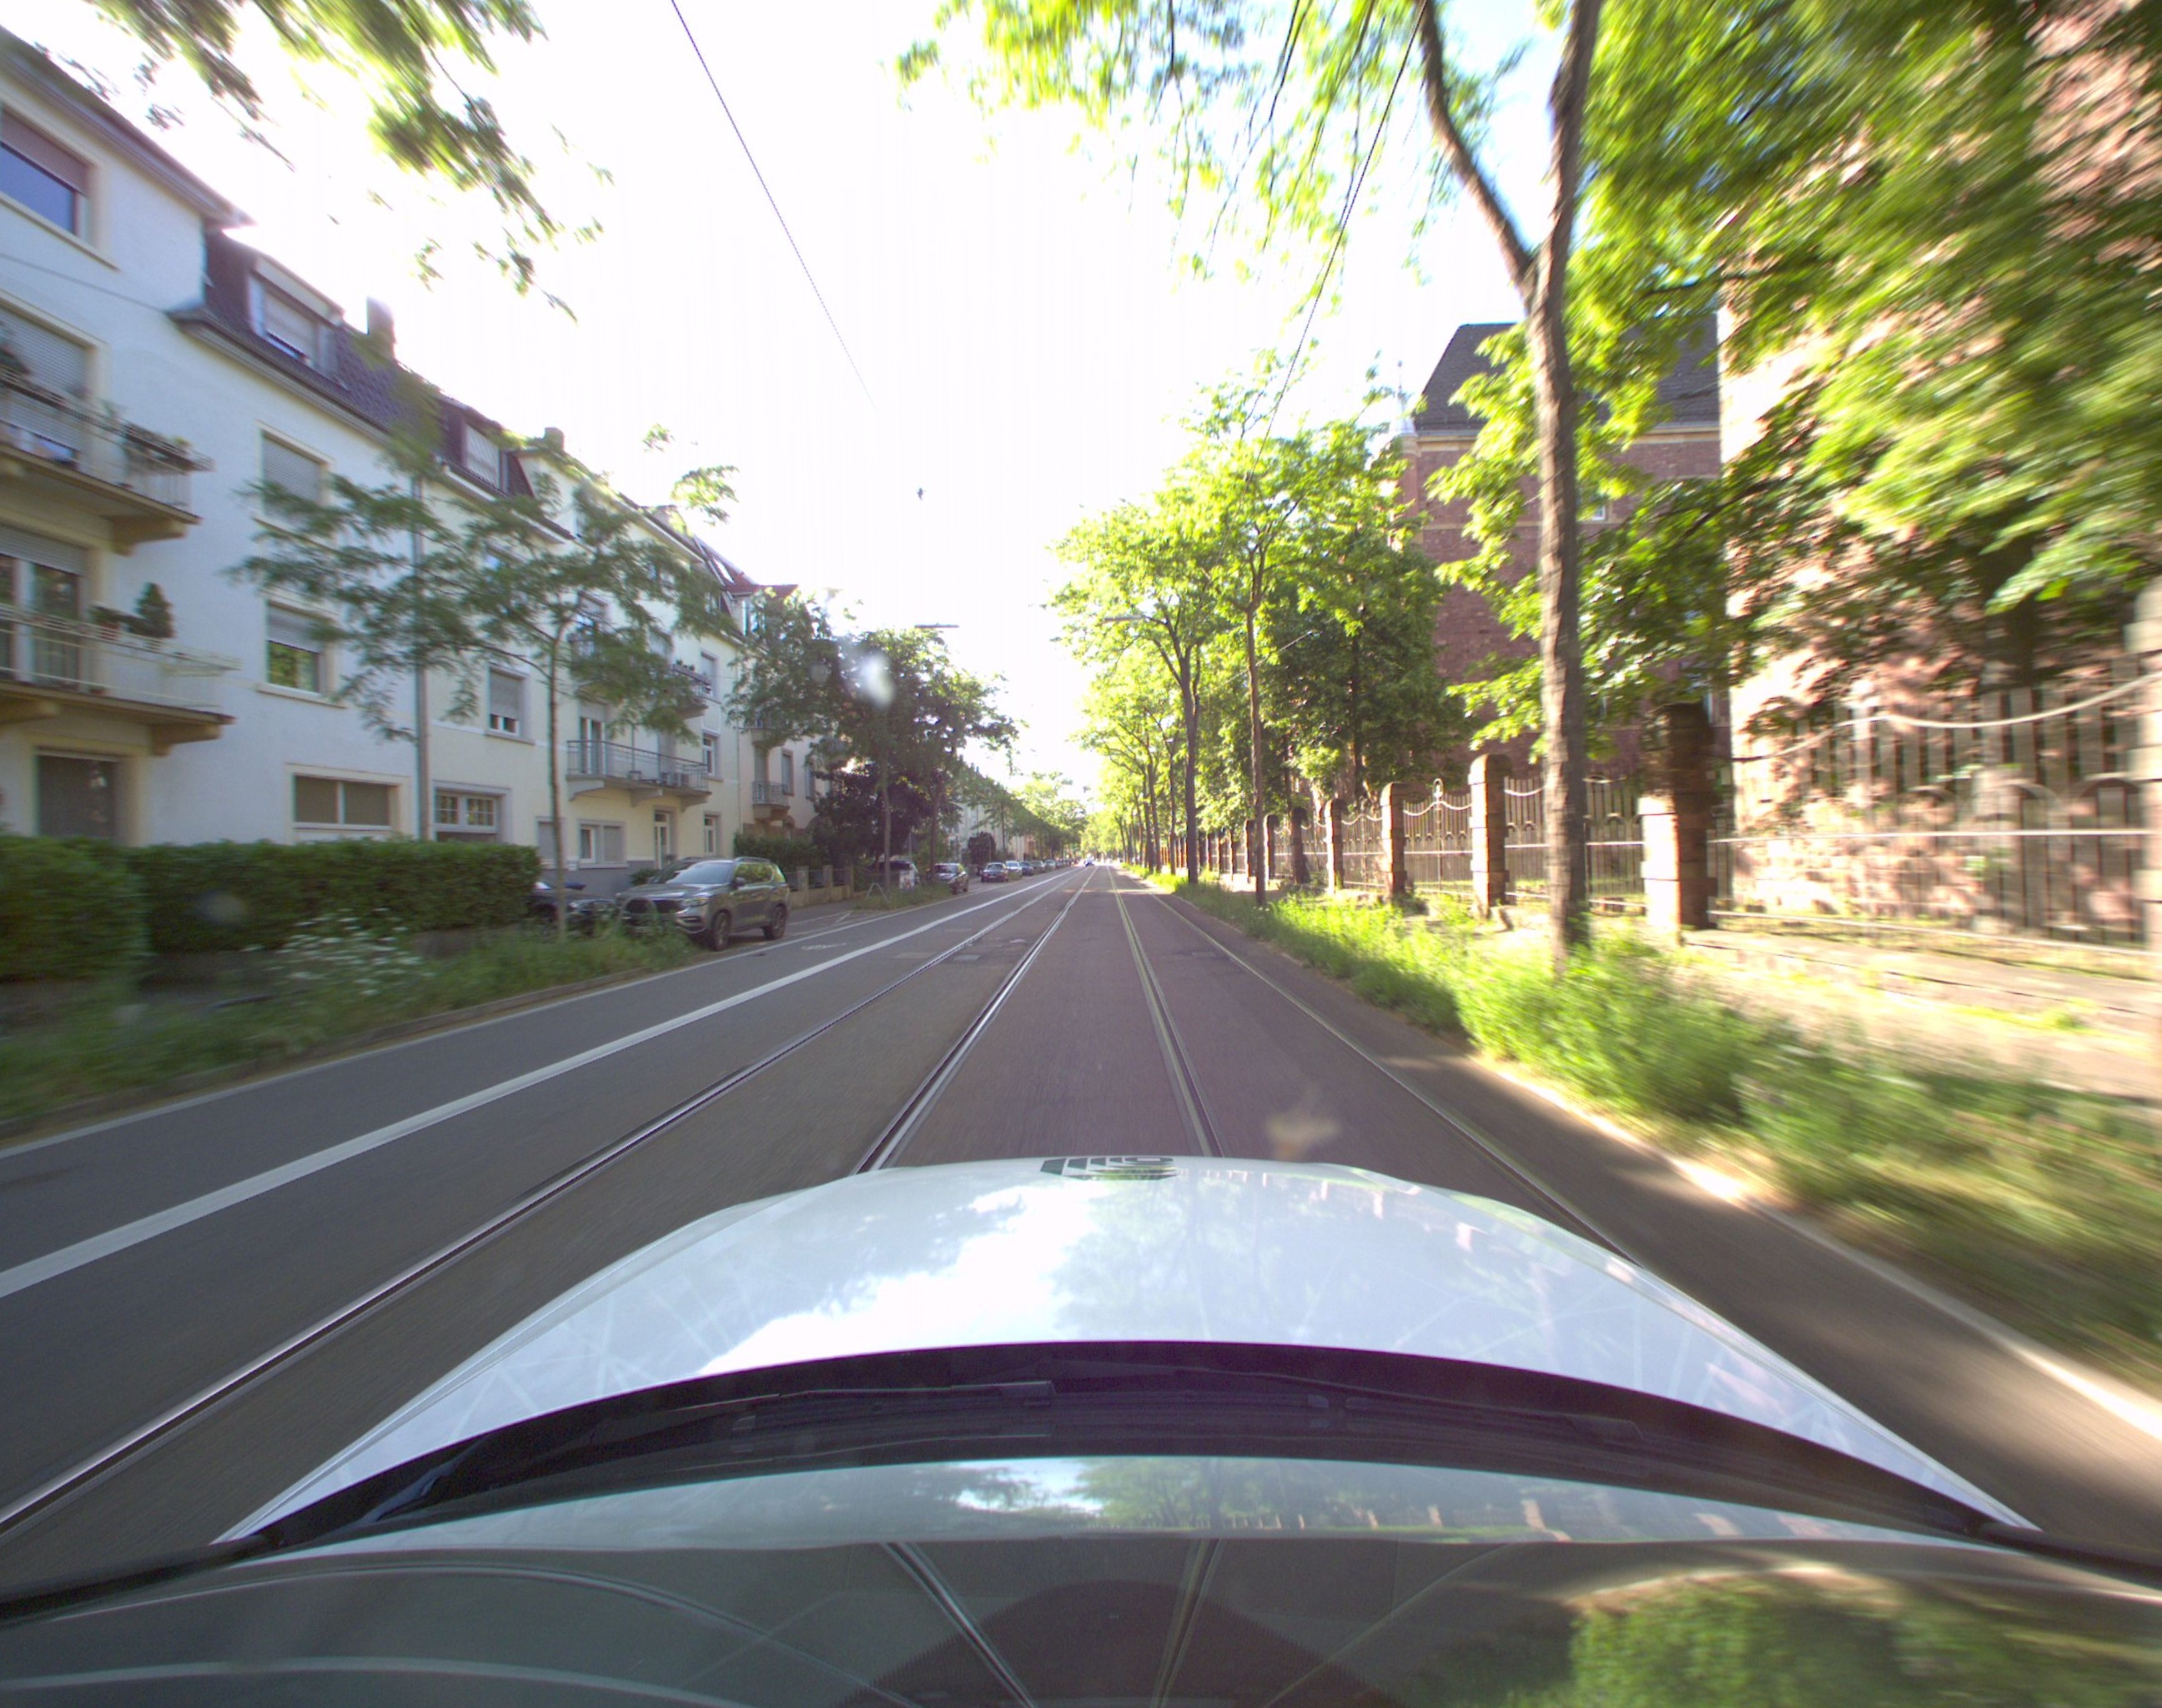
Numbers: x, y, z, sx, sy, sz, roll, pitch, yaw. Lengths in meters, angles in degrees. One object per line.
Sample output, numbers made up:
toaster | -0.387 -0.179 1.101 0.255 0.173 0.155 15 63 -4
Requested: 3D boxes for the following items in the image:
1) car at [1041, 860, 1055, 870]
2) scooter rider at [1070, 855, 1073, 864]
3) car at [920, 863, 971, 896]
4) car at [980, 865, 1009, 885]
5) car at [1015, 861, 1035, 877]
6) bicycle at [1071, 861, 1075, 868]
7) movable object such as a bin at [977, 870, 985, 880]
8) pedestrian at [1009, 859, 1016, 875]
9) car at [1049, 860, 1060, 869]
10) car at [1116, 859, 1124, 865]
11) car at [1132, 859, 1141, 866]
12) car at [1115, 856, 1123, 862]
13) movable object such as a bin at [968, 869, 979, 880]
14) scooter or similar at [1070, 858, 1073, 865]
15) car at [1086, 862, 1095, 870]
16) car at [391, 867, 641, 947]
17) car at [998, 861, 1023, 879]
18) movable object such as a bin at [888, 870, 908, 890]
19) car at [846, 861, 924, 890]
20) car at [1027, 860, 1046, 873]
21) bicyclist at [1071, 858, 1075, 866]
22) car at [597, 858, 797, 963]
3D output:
car | -4.944 1.612 122.581 1.696 1.485 4.080 1 0 1
scooter rider | -1.711 0.982 145.177 0.495 1.699 0.787 -5 -1 1
car | -6.984 1.285 42.339 1.770 1.541 4.487 -1 0 2
car | -6.479 1.546 61.367 1.699 1.406 4.334 0 0 1
car | -5.712 1.519 83.401 1.752 1.511 4.438 0 0 0
bicycle | -1.535 2.045 158.846 0.624 1.177 1.914 -4 0 2
movable object such as a bin | -9.465 1.980 77.030 0.557 0.975 0.733 0 0 4
pedestrian | -7.862 1.432 93.336 0.689 1.801 0.813 -2 -1 1
car | -4.239 1.645 130.646 1.681 1.485 3.760 1 0 0
car | 11.171 2.292 232.186 1.939 1.610 3.994 -1 0 -4
car | 12.227 1.858 179.343 1.833 1.655 3.578 -2 0 -1
car | 11.469 1.438 245.039 1.938 1.610 3.995 -2 0 -3
movable object such as a bin | -10.183 1.940 77.056 0.841 1.046 0.733 0 0 4
scooter or similar | -1.684 1.364 145.167 0.518 1.297 1.378 -5 -1 2
car | 1.810 2.430 162.202 1.752 1.439 4.523 -1 0 0
car | -12.551 1.150 18.289 4.283 1.661 1.954 0 0 2
car | -6.274 1.382 73.038 1.811 1.511 4.371 0 0 0
movable object such as a bin | -10.388 1.471 46.242 0.872 1.066 0.814 -2 -1 1
car | -11.735 1.283 48.916 4.152 1.659 1.983 -1 0 0
car | -5.231 1.434 96.476 1.810 1.485 4.207 -1 0 1
bicyclist | -1.570 1.584 158.818 0.624 1.639 0.940 -4 -1 1
car | -7.622 1.007 16.794 1.864 1.823 4.770 -1 0 0
